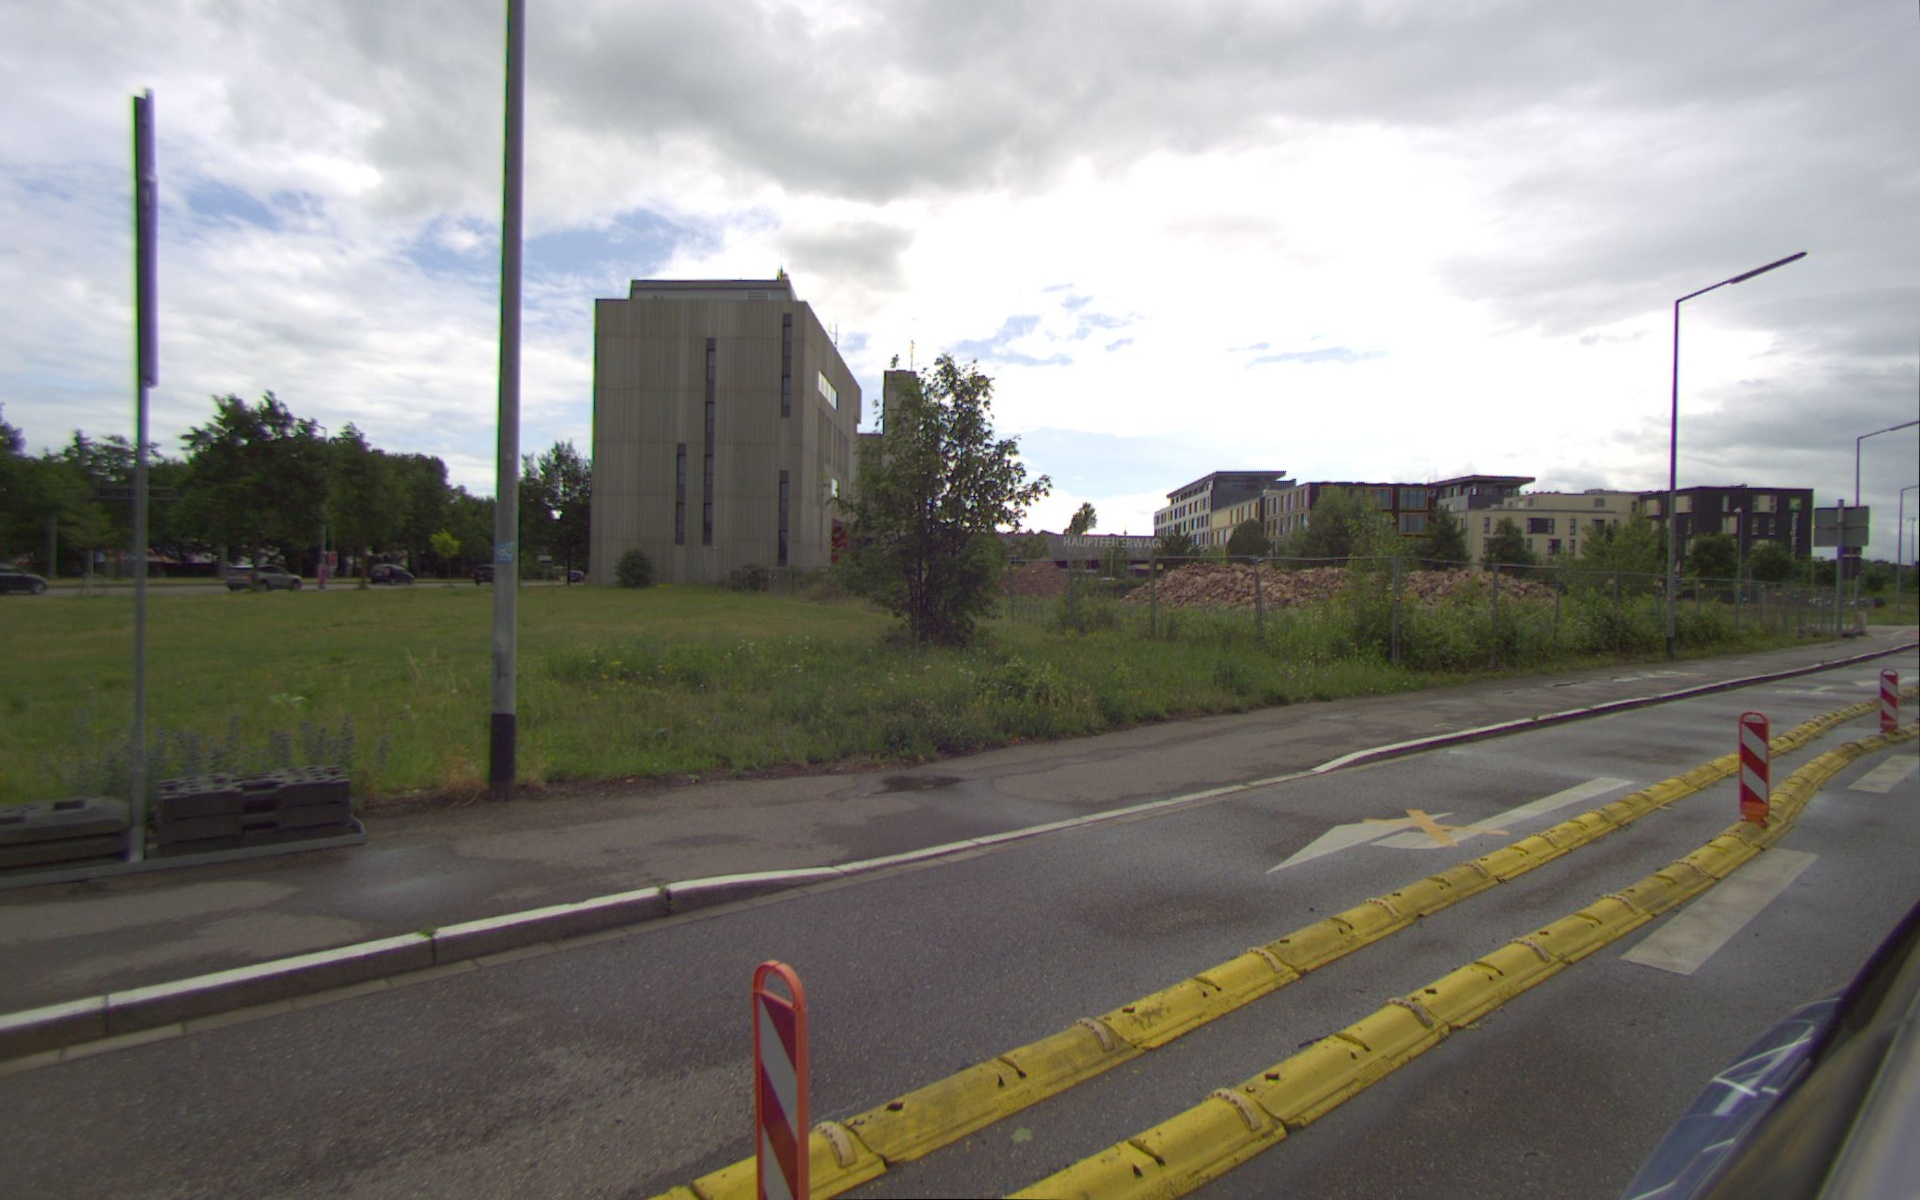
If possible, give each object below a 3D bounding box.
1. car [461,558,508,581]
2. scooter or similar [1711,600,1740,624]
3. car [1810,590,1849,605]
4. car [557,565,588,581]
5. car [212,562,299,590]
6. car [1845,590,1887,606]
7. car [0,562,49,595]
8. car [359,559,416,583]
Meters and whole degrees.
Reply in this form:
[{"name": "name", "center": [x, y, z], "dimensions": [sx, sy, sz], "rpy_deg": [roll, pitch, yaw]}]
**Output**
[{"name": "car", "center": [-43.367, -2.779, 92.467], "dimensions": [2.180, 1.996, 5.047], "rpy_deg": [1, 1, -4]}, {"name": "scooter or similar", "center": [39.350, 0.593, 52.047], "dimensions": [0.437, 1.200, 1.327], "rpy_deg": [1, 1, 0]}, {"name": "car", "center": [127.295, -0.407, 148.229], "dimensions": [3.925, 2.039, 2.000], "rpy_deg": [1, 1, 1]}, {"name": "car", "center": [-46.607, -3.253, 121.857], "dimensions": [1.964, 1.872, 3.997], "rpy_deg": [1, 1, 3]}, {"name": "car", "center": [-40.508, -1.375, 58.348], "dimensions": [1.877, 1.482, 4.320], "rpy_deg": [1, 1, 3]}, {"name": "car", "center": [126.142, -0.300, 140.874], "dimensions": [3.925, 2.039, 2.000], "rpy_deg": [1, 1, 1]}, {"name": "car", "center": [-44.890, -1.015, 46.727], "dimensions": [1.960, 1.482, 4.327], "rpy_deg": [1, 1, -5]}, {"name": "car", "center": [-46.214, -2.327, 81.783], "dimensions": [2.041, 1.836, 4.204], "rpy_deg": [1, 1, 4]}]
